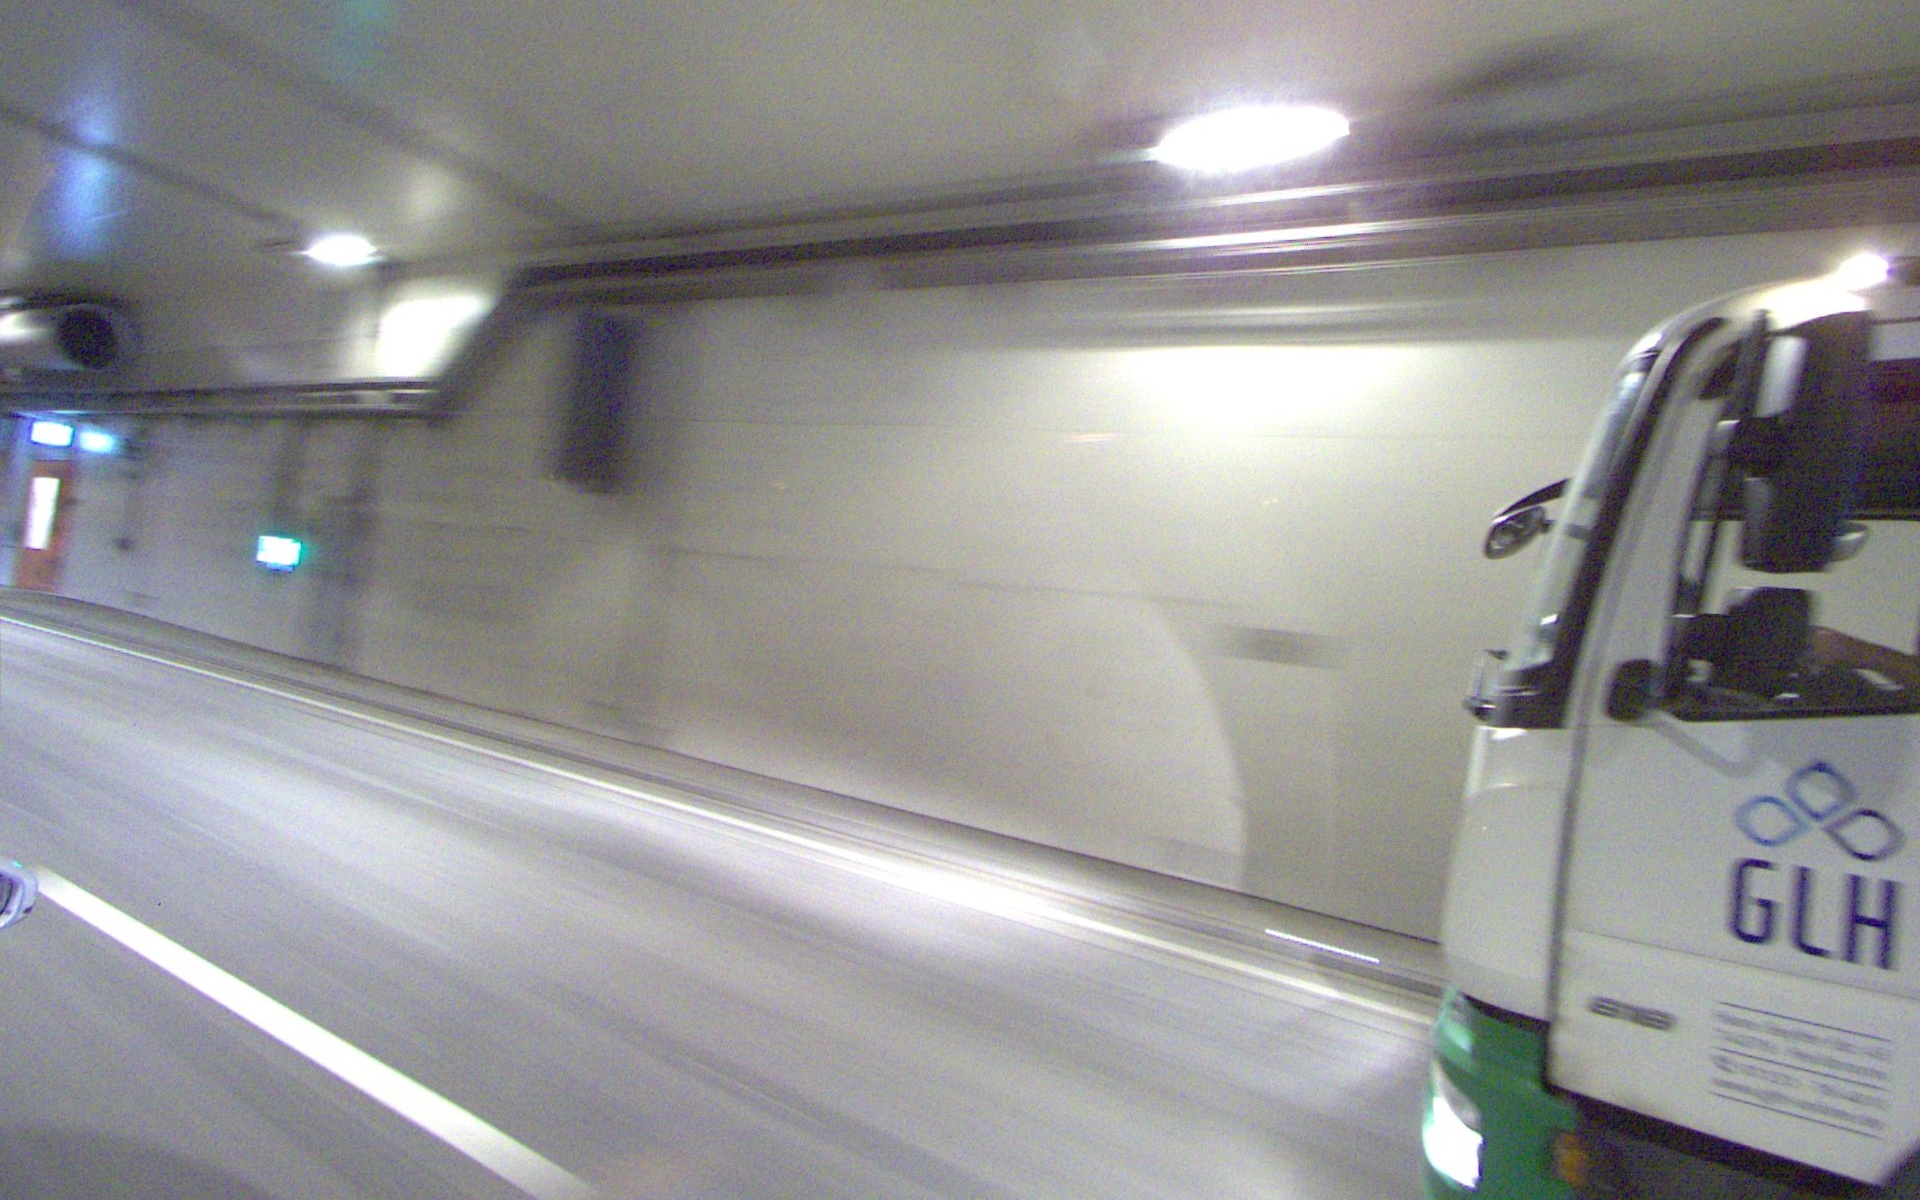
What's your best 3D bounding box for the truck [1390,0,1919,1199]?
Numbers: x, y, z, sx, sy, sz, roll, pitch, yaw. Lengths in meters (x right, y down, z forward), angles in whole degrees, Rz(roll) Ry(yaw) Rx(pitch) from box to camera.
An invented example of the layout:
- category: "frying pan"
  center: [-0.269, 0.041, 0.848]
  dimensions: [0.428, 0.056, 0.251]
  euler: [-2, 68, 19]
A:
- category: "truck"
  center: [4.664, 0.560, 1.237]
  dimensions: [7.125, 3.218, 2.559]
  euler: [7, -2, 32]
